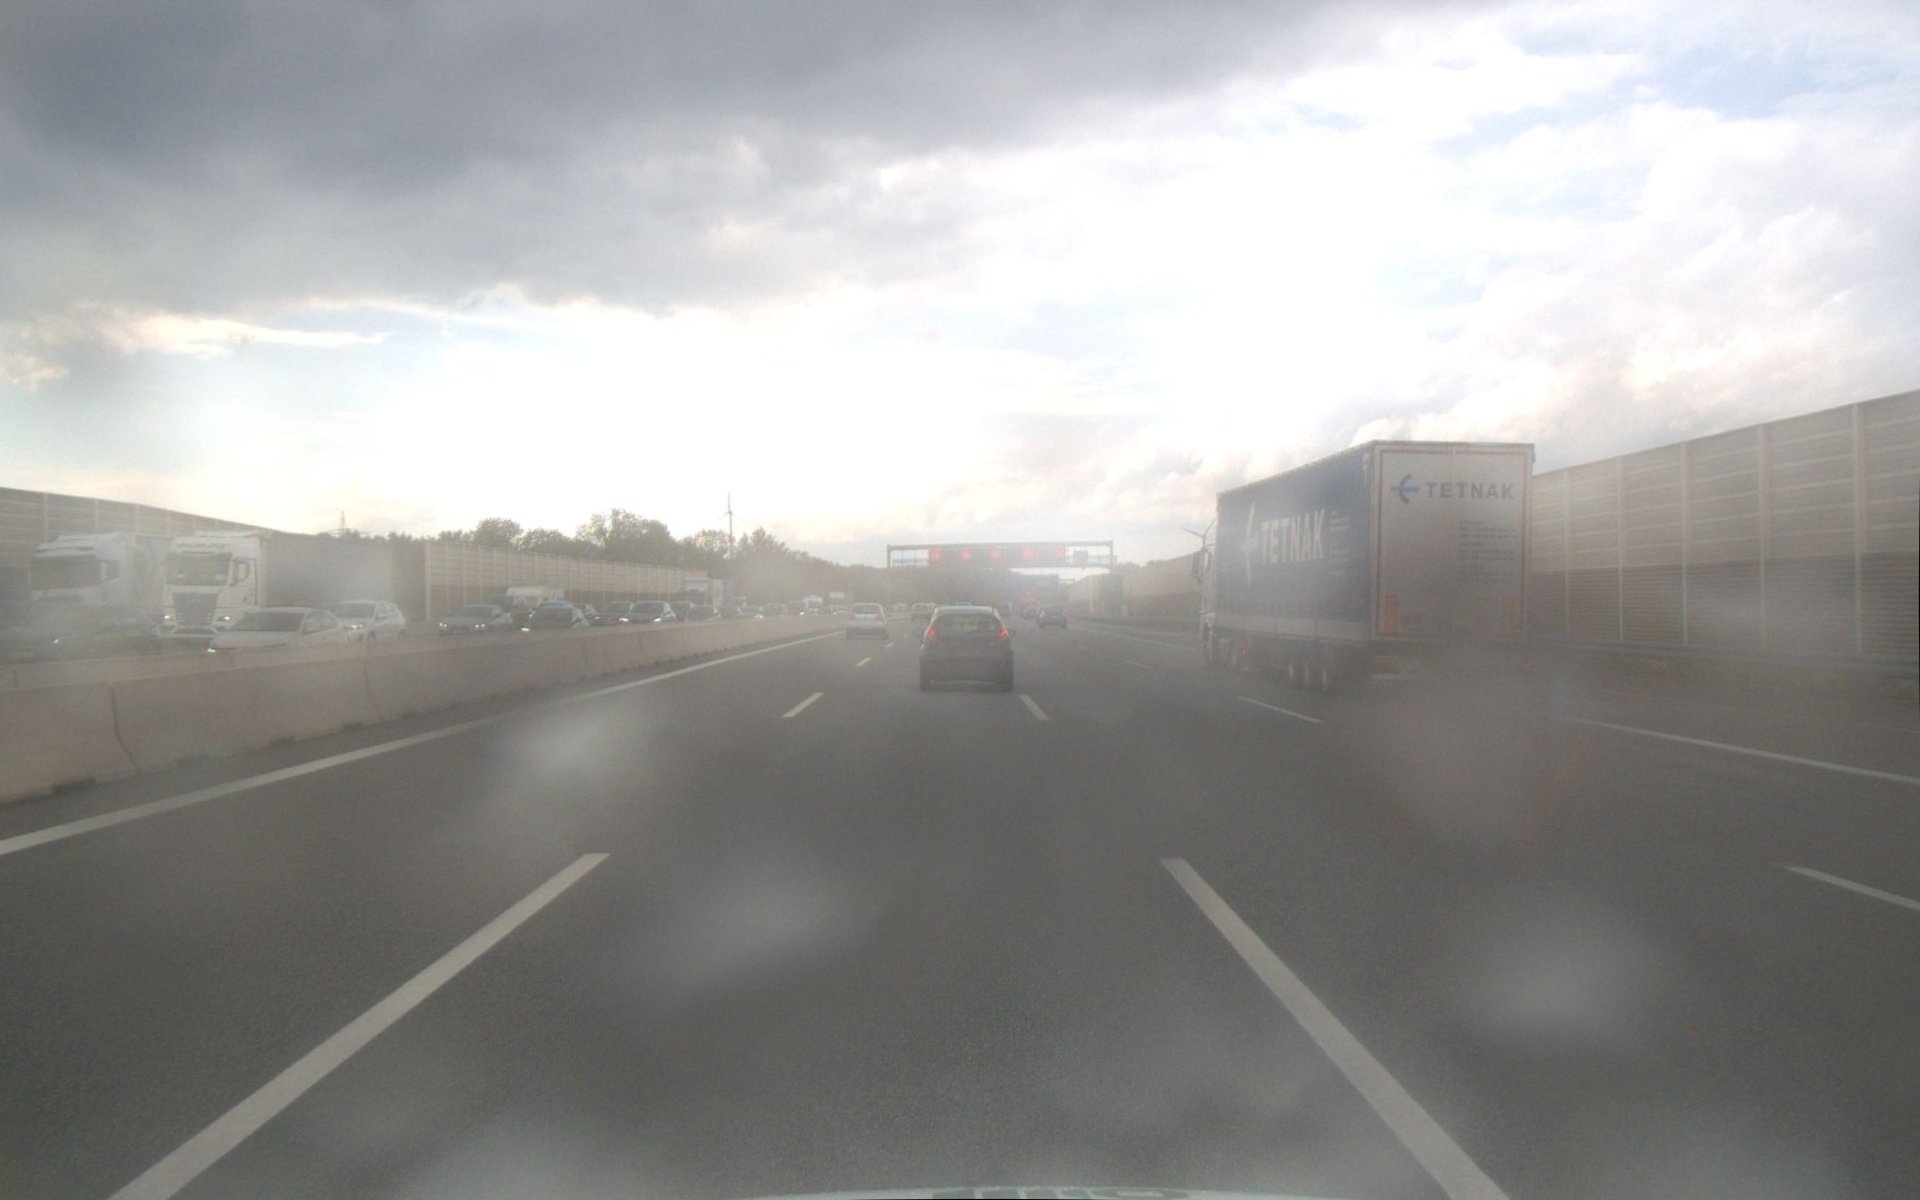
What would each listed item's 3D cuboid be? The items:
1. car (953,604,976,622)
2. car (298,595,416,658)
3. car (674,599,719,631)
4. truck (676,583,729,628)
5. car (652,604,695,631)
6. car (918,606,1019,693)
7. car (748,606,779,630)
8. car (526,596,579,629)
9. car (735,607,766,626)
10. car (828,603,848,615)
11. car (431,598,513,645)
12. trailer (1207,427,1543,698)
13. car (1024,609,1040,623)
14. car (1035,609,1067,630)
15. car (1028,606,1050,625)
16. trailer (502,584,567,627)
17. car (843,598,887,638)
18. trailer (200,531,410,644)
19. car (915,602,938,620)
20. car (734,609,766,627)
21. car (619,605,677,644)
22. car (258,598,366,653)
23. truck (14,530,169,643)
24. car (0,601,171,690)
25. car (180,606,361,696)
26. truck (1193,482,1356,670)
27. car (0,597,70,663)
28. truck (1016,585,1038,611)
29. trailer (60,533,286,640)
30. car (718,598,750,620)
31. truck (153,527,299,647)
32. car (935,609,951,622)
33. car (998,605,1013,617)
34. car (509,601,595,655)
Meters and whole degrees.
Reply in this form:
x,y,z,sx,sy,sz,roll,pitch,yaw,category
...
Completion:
x,y,z,sx,sy,sz,roll,pitch,yaw,category
0.419,1.225,151.751,1.927,1.588,4.434,-1,-1,2,car
-18.491,0.765,50.966,2.019,1.848,4.777,0,0,-2,car
-14.458,0.795,91.009,1.916,1.729,4.409,0,0,-2,car
-21.612,0.442,139.213,2.640,3.589,9.996,1,0,1,truck
-18.581,1.123,107.405,2.019,1.729,5.087,0,0,-2,car
0.093,0.844,30.098,1.682,1.442,4.277,0,0,-2,car
-14.350,1.299,120.997,1.835,1.729,4.221,0,0,-1,car
-22.049,0.654,89.586,1.916,1.729,4.409,0,0,-2,car
-18.153,1.470,143.541,2.018,1.628,4.997,0,-1,0,car
-16.213,1.227,220.125,2.017,1.517,4.998,0,-1,2,car
-18.480,0.785,62.854,1.916,1.729,4.409,0,0,-2,car
7.395,-0.535,32.347,2.705,4.102,14.449,0,0,-1,trailer
8.527,1.942,195.919,1.843,1.588,4.434,-1,-1,2,car
6.223,1.350,113.451,1.910,1.443,4.231,0,-1,-1,car
7.024,1.379,147.169,1.843,1.569,4.433,-1,-1,1,car
-26.067,0.329,101.631,2.409,2.539,6.085,0,0,0,trailer
-4.020,0.747,70.558,1.682,1.652,4.277,0,0,-1,car
-26.147,-0.429,67.220,2.704,4.102,14.452,0,0,0,trailer
-3.170,1.046,157.317,1.927,1.588,4.434,-1,-1,2,car
-18.220,1.580,143.679,2.017,1.517,4.998,0,-1,2,car
-14.348,1.093,76.266,1.916,1.729,4.891,0,0,-2,car
-22.592,0.840,57.880,2.019,1.848,4.777,0,0,-2,car
-32.875,-0.467,62.874,2.857,4.105,5.725,0,0,0,truck
-18.602,0.895,34.777,2.019,1.729,4.409,0,0,-2,car
-14.243,0.992,34.444,2.019,1.729,4.409,0,0,-2,car
7.279,-0.519,39.020,2.689,4.105,5.724,0,0,-1,truck
-26.115,0.777,44.534,2.019,1.729,4.409,0,0,-2,car
9.985,-0.298,247.101,3.087,3.665,12.702,1,0,2,truck
-32.865,-0.480,70.067,2.875,4.102,13.859,0,0,0,trailer
-17.800,0.690,130.450,1.835,1.729,5.014,0,0,-1,car
-26.232,-0.436,59.392,2.688,4.105,5.725,0,0,0,truck
-2.200,2.079,216.656,1.927,1.588,4.434,-1,-1,2,car
6.146,1.475,222.150,1.927,1.588,4.434,-1,-1,3,car
-14.569,0.959,59.333,2.019,1.848,4.777,0,0,-2,car
